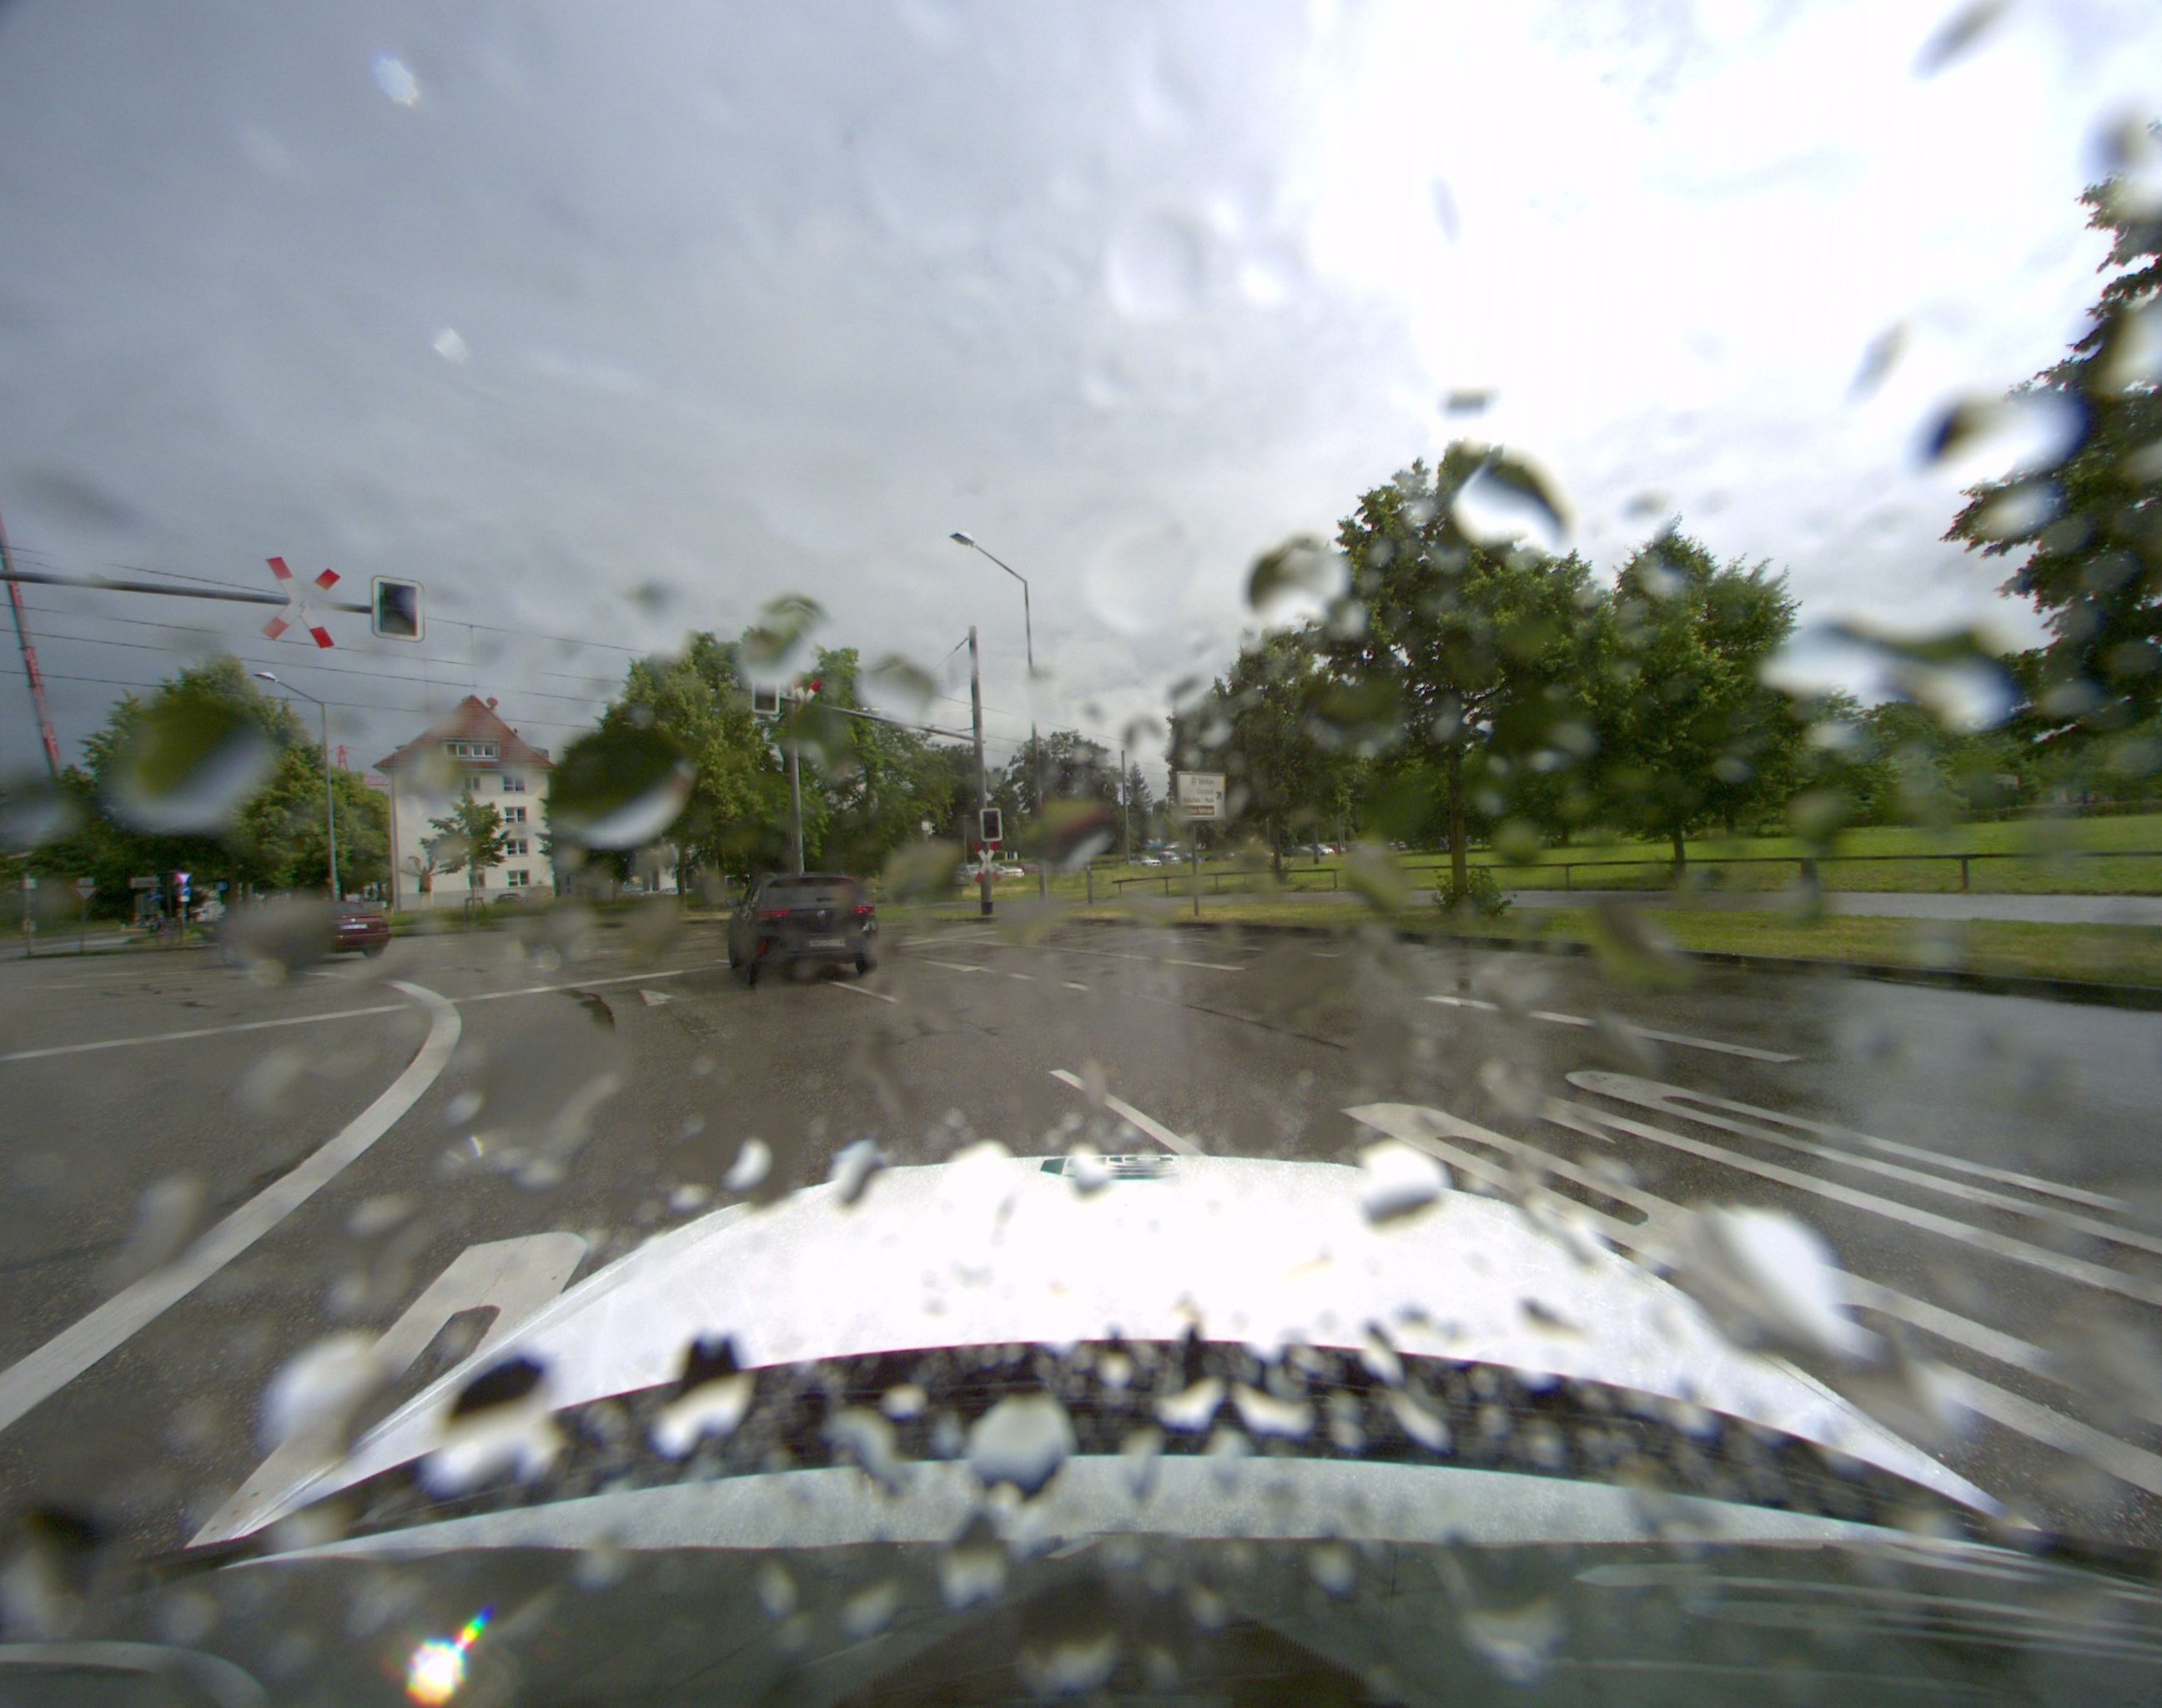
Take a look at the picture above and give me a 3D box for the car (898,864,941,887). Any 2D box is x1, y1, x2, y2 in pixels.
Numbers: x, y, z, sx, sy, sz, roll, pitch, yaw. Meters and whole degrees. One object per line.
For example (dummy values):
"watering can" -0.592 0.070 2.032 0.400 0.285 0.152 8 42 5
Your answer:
"car" -12.537 1.666 63.063 1.857 1.559 3.937 -3 -1 -33

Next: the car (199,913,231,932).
"car" -79.134 6.207 74.451 1.559 1.454 3.458 -4 1 -41

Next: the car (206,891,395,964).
"car" -18.683 1.767 19.499 3.952 1.462 1.730 -3 1 22

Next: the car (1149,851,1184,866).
"car" 9.715 0.544 93.027 1.806 1.527 3.958 -3 -1 -33

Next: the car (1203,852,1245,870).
"car" 14.225 0.740 81.241 1.857 1.559 3.937 -3 -1 -33

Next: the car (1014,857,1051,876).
"car" -4.123 1.039 69.032 1.650 1.462 3.575 -3 0 -30

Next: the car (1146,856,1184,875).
"car" 7.932 1.082 77.240 1.556 1.660 3.591 -3 -1 -33

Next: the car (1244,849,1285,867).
"car" 18.921 0.434 84.133 1.857 1.559 3.937 -3 -1 -33

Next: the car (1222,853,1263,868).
"car" 16.392 0.635 82.927 1.857 1.308 3.937 -3 -1 -33

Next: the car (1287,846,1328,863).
"car" 24.443 0.084 88.101 1.857 1.559 3.937 -3 -1 -33

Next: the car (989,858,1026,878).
"car" -6.105 1.176 67.420 1.650 1.462 3.575 -3 0 -30

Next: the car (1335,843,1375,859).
"car" 30.979 -0.346 92.042 1.857 1.559 3.937 -3 -1 -33

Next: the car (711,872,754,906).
"car" -24.214 2.385 56.550 2.119 2.057 5.112 -4 1 -29

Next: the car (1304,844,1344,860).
"car" 27.010 -0.178 90.749 1.857 1.559 3.937 -3 -1 -33

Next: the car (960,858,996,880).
"car" -8.472 1.262 66.716 1.555 1.659 3.615 -3 0 -29

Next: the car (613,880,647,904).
"car" -34.783 2.869 62.799 1.860 1.552 4.062 -3 2 -34

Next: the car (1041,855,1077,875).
"car" -1.938 0.969 70.328 1.654 1.510 3.617 -3 0 -28

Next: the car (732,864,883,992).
"car" -4.347 1.053 12.821 1.904 1.618 3.971 -1 -2 -21

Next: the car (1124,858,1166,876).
"car" 5.910 1.243 75.999 1.806 1.527 3.958 -3 -1 -33
